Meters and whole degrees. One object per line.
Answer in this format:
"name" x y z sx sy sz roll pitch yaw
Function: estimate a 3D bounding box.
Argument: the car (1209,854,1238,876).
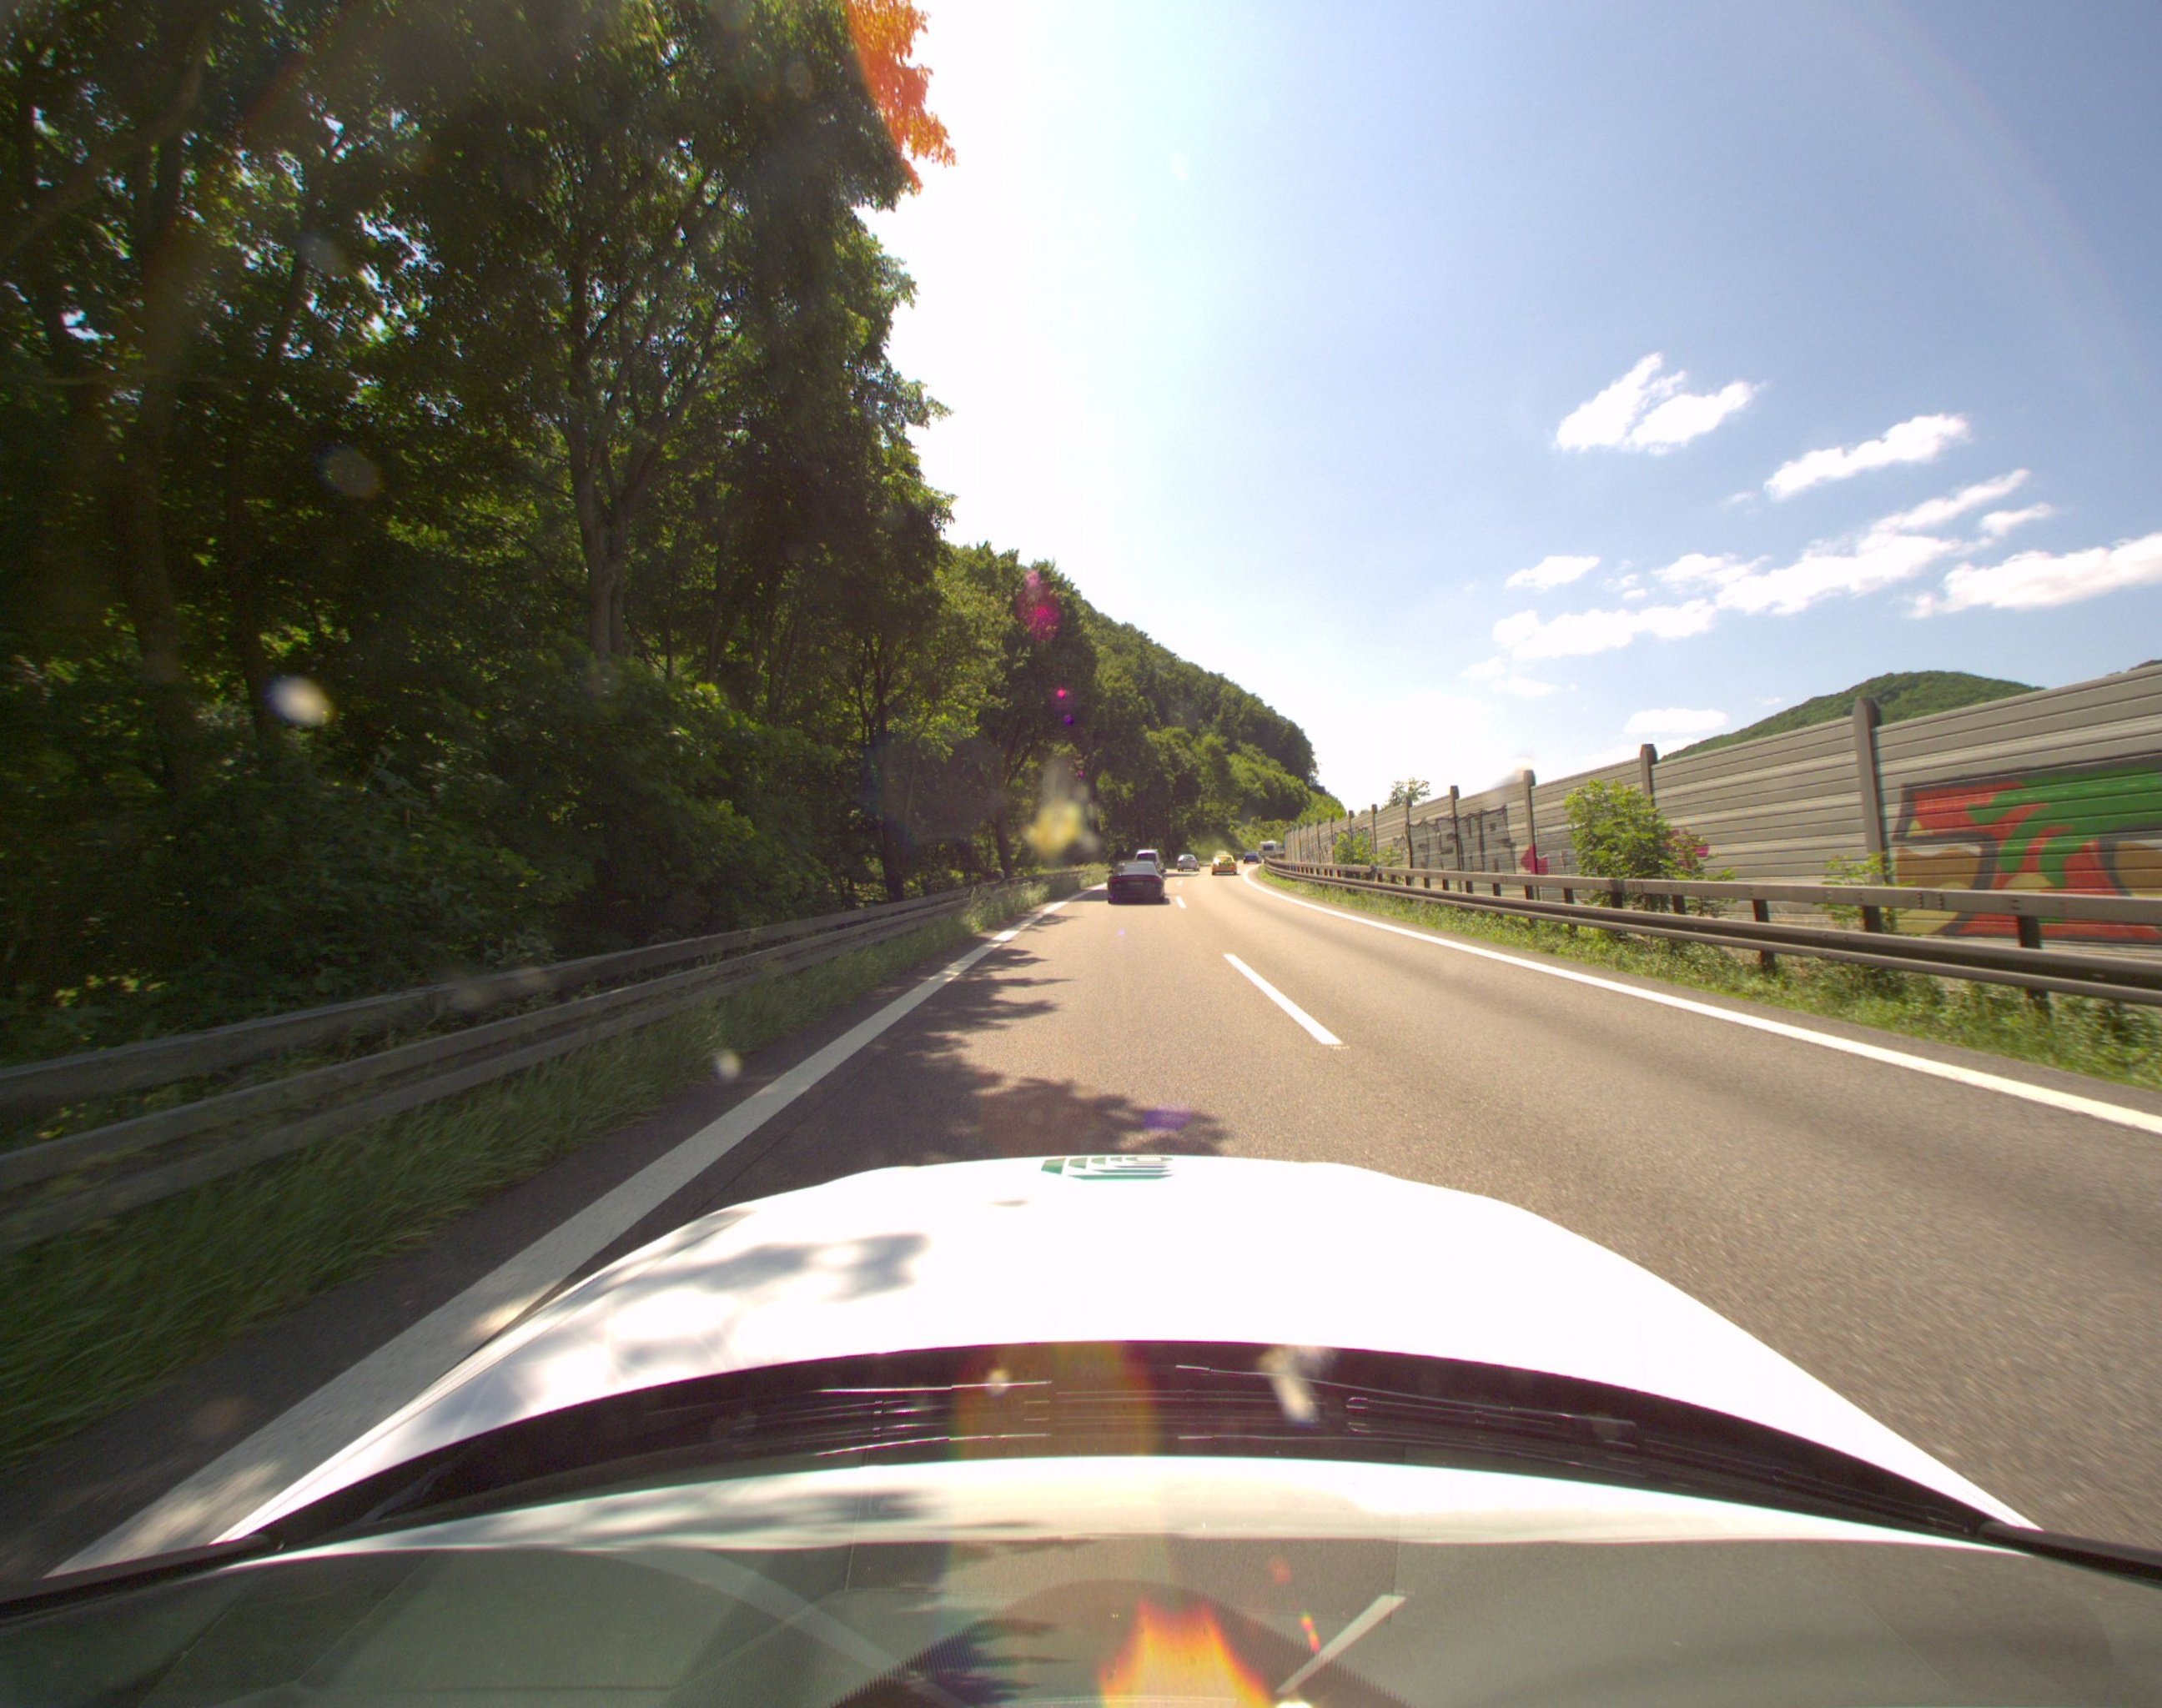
"car" 10.540 0.811 60.059 1.850 1.488 4.014 -2 -1 12

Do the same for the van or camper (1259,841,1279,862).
"van or camper" 27.099 -0.300 117.250 2.437 2.918 6.150 -2 -1 15

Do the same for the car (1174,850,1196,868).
"car" 9.216 0.439 72.059 1.736 1.431 4.011 -2 -1 10

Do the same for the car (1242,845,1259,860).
"car" 20.583 -0.177 98.806 1.760 1.636 4.016 -4 0 14

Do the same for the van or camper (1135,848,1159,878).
"van or camper" 4.292 0.561 52.741 1.384 1.816 4.007 -2 -1 6

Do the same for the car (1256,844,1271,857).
"car" 29.606 -0.494 132.167 1.978 2.014 4.017 -2 -1 17

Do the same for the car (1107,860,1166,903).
"car" 1.817 0.891 27.796 1.831 1.349 4.000 0 -1 1

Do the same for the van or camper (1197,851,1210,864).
"van or camper" 15.791 0.464 104.667 1.548 1.534 3.514 -2 -1 9
